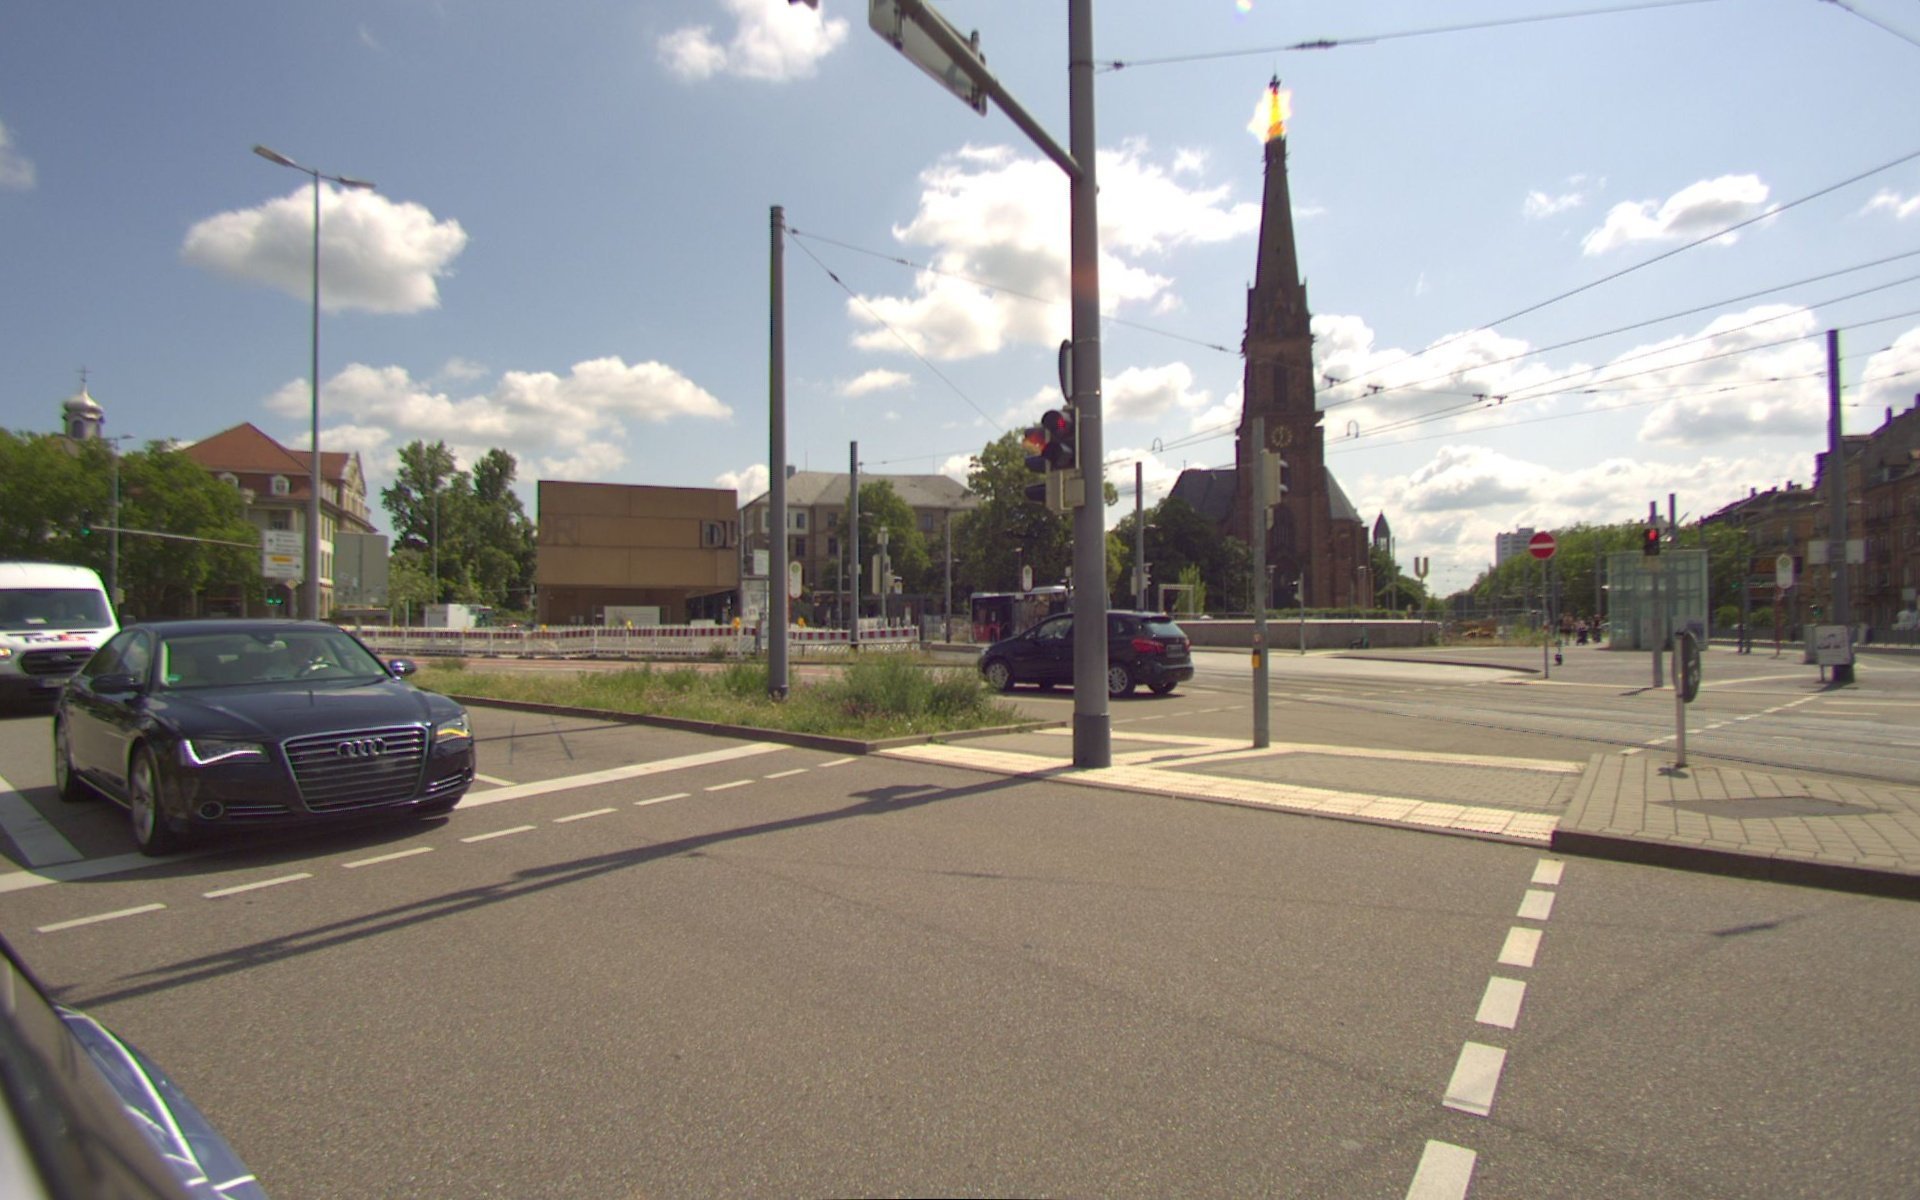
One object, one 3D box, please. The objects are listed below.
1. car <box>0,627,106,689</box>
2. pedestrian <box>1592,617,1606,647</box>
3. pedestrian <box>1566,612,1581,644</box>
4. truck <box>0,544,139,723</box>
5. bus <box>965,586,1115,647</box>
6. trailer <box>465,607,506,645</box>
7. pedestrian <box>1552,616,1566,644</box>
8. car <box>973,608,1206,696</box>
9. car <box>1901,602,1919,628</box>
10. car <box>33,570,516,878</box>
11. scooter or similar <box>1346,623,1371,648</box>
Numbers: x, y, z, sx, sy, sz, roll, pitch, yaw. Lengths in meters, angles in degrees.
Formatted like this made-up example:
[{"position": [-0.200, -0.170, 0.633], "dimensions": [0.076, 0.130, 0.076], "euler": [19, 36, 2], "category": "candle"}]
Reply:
[{"position": [-24.034, 1.445, 25.843], "dimensions": [4.495, 1.445, 1.738], "euler": [-1, -1, 26], "category": "car"}, {"position": [38.953, 1.948, 61.721], "dimensions": [0.520, 1.806, 0.619], "euler": [0, 0, -44], "category": "pedestrian"}, {"position": [35.683, 1.619, 58.836], "dimensions": [0.520, 1.806, 0.619], "euler": [0, 0, -44], "category": "pedestrian"}, {"position": [-16.160, 0.524, 17.330], "dimensions": [5.911, 2.660, 2.116], "euler": [-1, 0, 39], "category": "truck"}, {"position": [3.876, 0.753, 53.810], "dimensions": [2.550, 2.881, 12.308], "euler": [0, 0, -23], "category": "bus"}, {"position": [-38.172, 2.047, 81.361], "dimensions": [1.968, 2.935, 4.375], "euler": [0, 0, -38], "category": "trailer"}, {"position": [38.990, 1.934, 65.873], "dimensions": [0.520, 1.806, 0.619], "euler": [0, 0, -44], "category": "pedestrian"}, {"position": [2.329, 0.928, 18.968], "dimensions": [4.153, 1.480, 1.635], "euler": [-2, -2, 42], "category": "car"}, {"position": [89.170, 1.407, 93.378], "dimensions": [1.986, 2.361, 4.092], "euler": [0, 0, 21], "category": "car"}, {"position": [-5.449, 0.733, 7.751], "dimensions": [4.790, 1.654, 1.908], "euler": [-2, -2, 41], "category": "car"}, {"position": [18.326, 1.628, 46.526], "dimensions": [1.111, 1.098, 0.243], "euler": [0, 0, -13], "category": "scooter or similar"}]
